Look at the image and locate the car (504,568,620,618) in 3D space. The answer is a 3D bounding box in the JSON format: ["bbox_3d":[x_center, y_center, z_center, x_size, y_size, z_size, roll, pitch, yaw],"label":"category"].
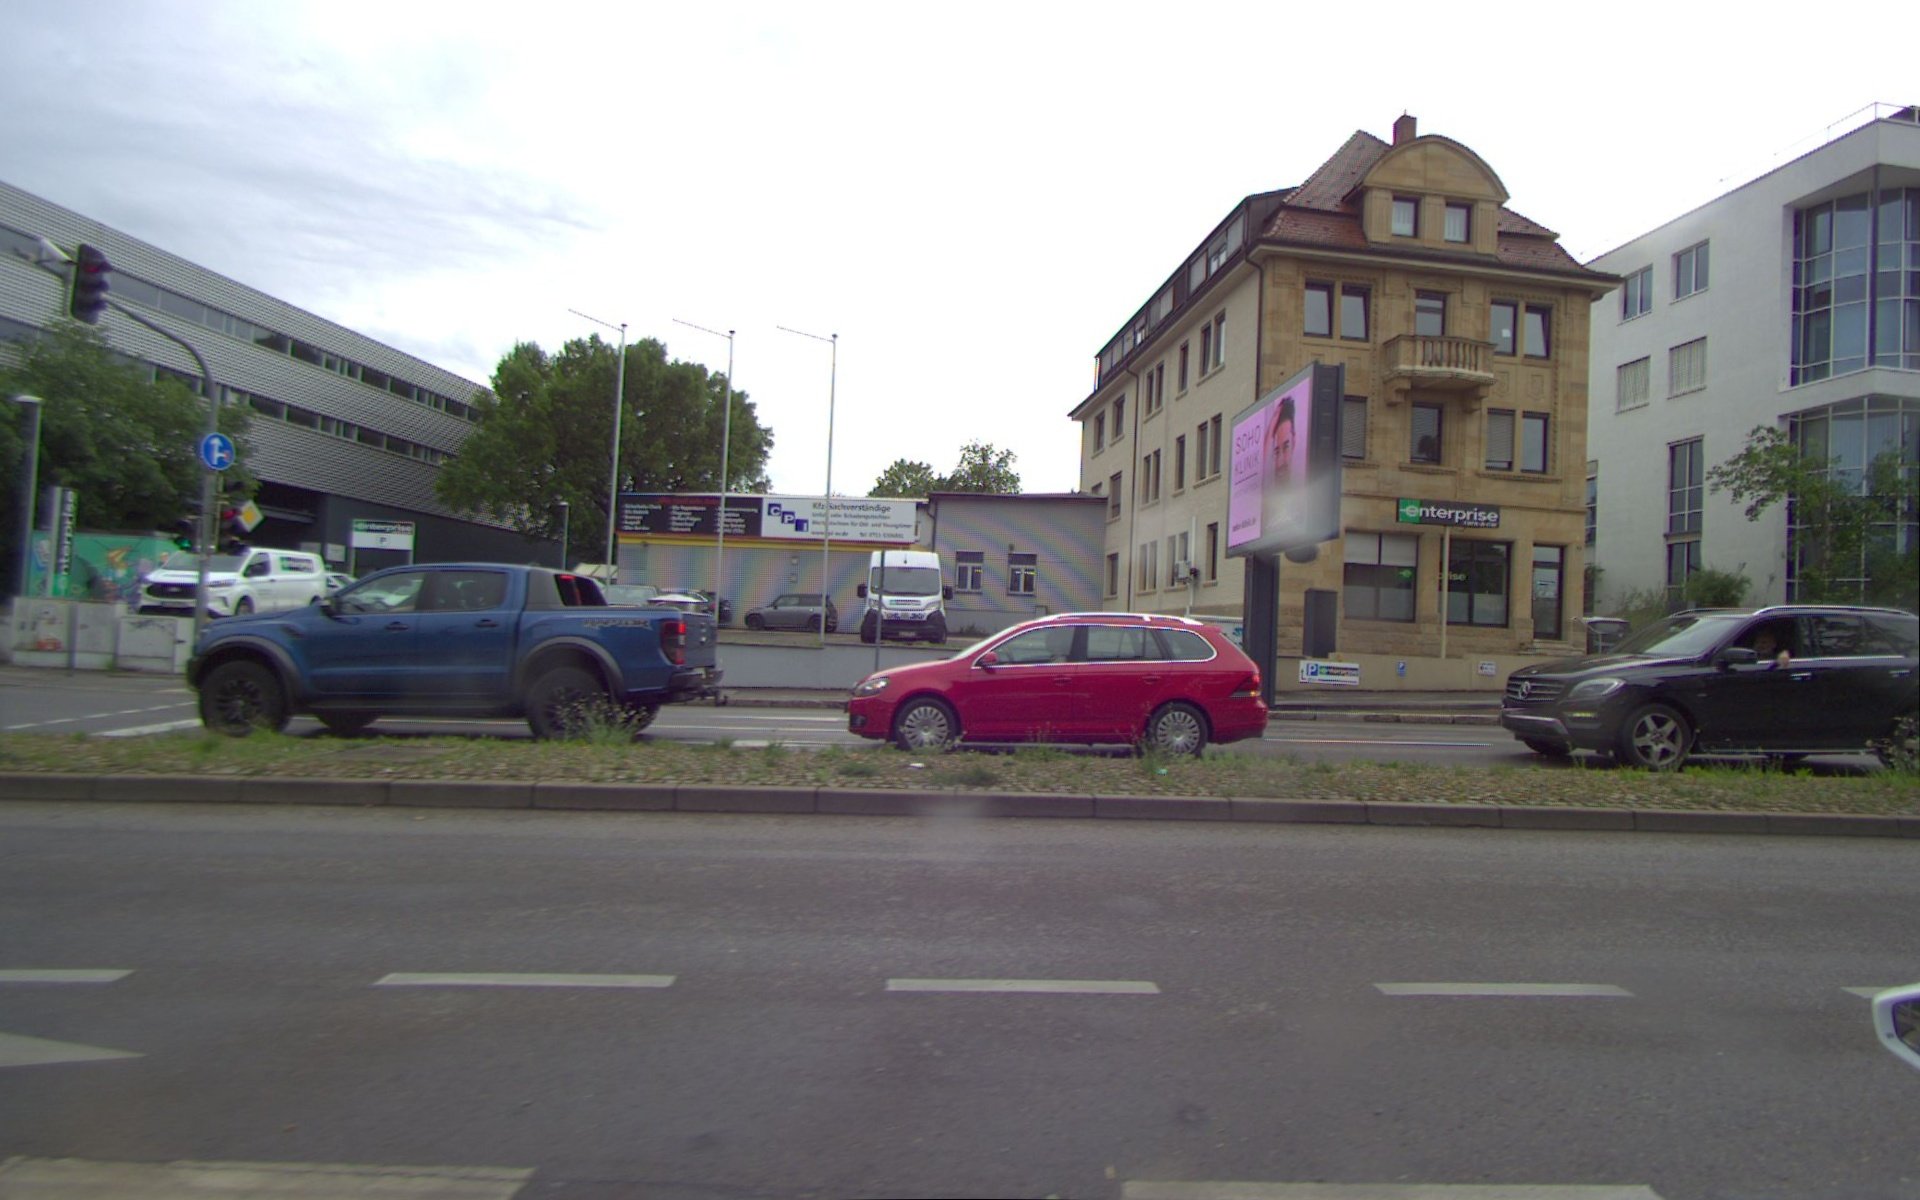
[{"bbox_3d":[-17.120,-0.278,43.297,4.224,1.885,1.742,3,-2,4],"label":"car"}]

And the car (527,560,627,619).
[{"bbox_3d":[-17.930,-0.483,47.077,3.907,2.530,1.655,3,-2,4],"label":"car"}]

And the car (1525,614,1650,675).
[{"bbox_3d":[19.180,1.344,30.830,1.684,1.697,3.049,3,-2,-7],"label":"car"}]

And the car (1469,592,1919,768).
[{"bbox_3d":[8.397,0.858,11.150,4.535,1.719,1.961,1,-2,-2],"label":"car"}]

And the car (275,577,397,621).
[{"bbox_3d":[-22.117,-0.028,35.703,3.234,1.338,1.574,3,-2,-5],"label":"car"}]

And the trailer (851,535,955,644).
[{"bbox_3d":[-1.580,-0.119,27.327,2.349,2.460,7.118,3,-2,-4],"label":"trailer"}]

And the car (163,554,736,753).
[{"bbox_3d":[-5.173,0.570,10.798,5.070,1.842,1.940,1,-2,-2],"label":"car"}]

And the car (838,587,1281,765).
[{"bbox_3d":[0.975,0.793,10.838,4.356,1.551,1.812,3,-2,-3],"label":"car"}]

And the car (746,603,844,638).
[{"bbox_3d":[-6.173,0.767,37.750,3.344,1.122,1.324,2,-2,11],"label":"car"}]

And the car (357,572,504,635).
[{"bbox_3d":[-13.131,0.062,25.165,1.837,1.387,3.621,2,1,-3],"label":"car"}]

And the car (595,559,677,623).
[{"bbox_3d":[-7.896,-0.226,24.645,1.204,1.443,2.685,2,1,-3],"label":"car"}]

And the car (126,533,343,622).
[{"bbox_3d":[-17.881,-0.444,25.177,2.181,1.825,5.363,3,-2,-10],"label":"car"}]

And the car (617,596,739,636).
[{"bbox_3d":[-10.754,0.609,38.435,4.252,1.425,1.374,1,-2,8],"label":"car"}]
